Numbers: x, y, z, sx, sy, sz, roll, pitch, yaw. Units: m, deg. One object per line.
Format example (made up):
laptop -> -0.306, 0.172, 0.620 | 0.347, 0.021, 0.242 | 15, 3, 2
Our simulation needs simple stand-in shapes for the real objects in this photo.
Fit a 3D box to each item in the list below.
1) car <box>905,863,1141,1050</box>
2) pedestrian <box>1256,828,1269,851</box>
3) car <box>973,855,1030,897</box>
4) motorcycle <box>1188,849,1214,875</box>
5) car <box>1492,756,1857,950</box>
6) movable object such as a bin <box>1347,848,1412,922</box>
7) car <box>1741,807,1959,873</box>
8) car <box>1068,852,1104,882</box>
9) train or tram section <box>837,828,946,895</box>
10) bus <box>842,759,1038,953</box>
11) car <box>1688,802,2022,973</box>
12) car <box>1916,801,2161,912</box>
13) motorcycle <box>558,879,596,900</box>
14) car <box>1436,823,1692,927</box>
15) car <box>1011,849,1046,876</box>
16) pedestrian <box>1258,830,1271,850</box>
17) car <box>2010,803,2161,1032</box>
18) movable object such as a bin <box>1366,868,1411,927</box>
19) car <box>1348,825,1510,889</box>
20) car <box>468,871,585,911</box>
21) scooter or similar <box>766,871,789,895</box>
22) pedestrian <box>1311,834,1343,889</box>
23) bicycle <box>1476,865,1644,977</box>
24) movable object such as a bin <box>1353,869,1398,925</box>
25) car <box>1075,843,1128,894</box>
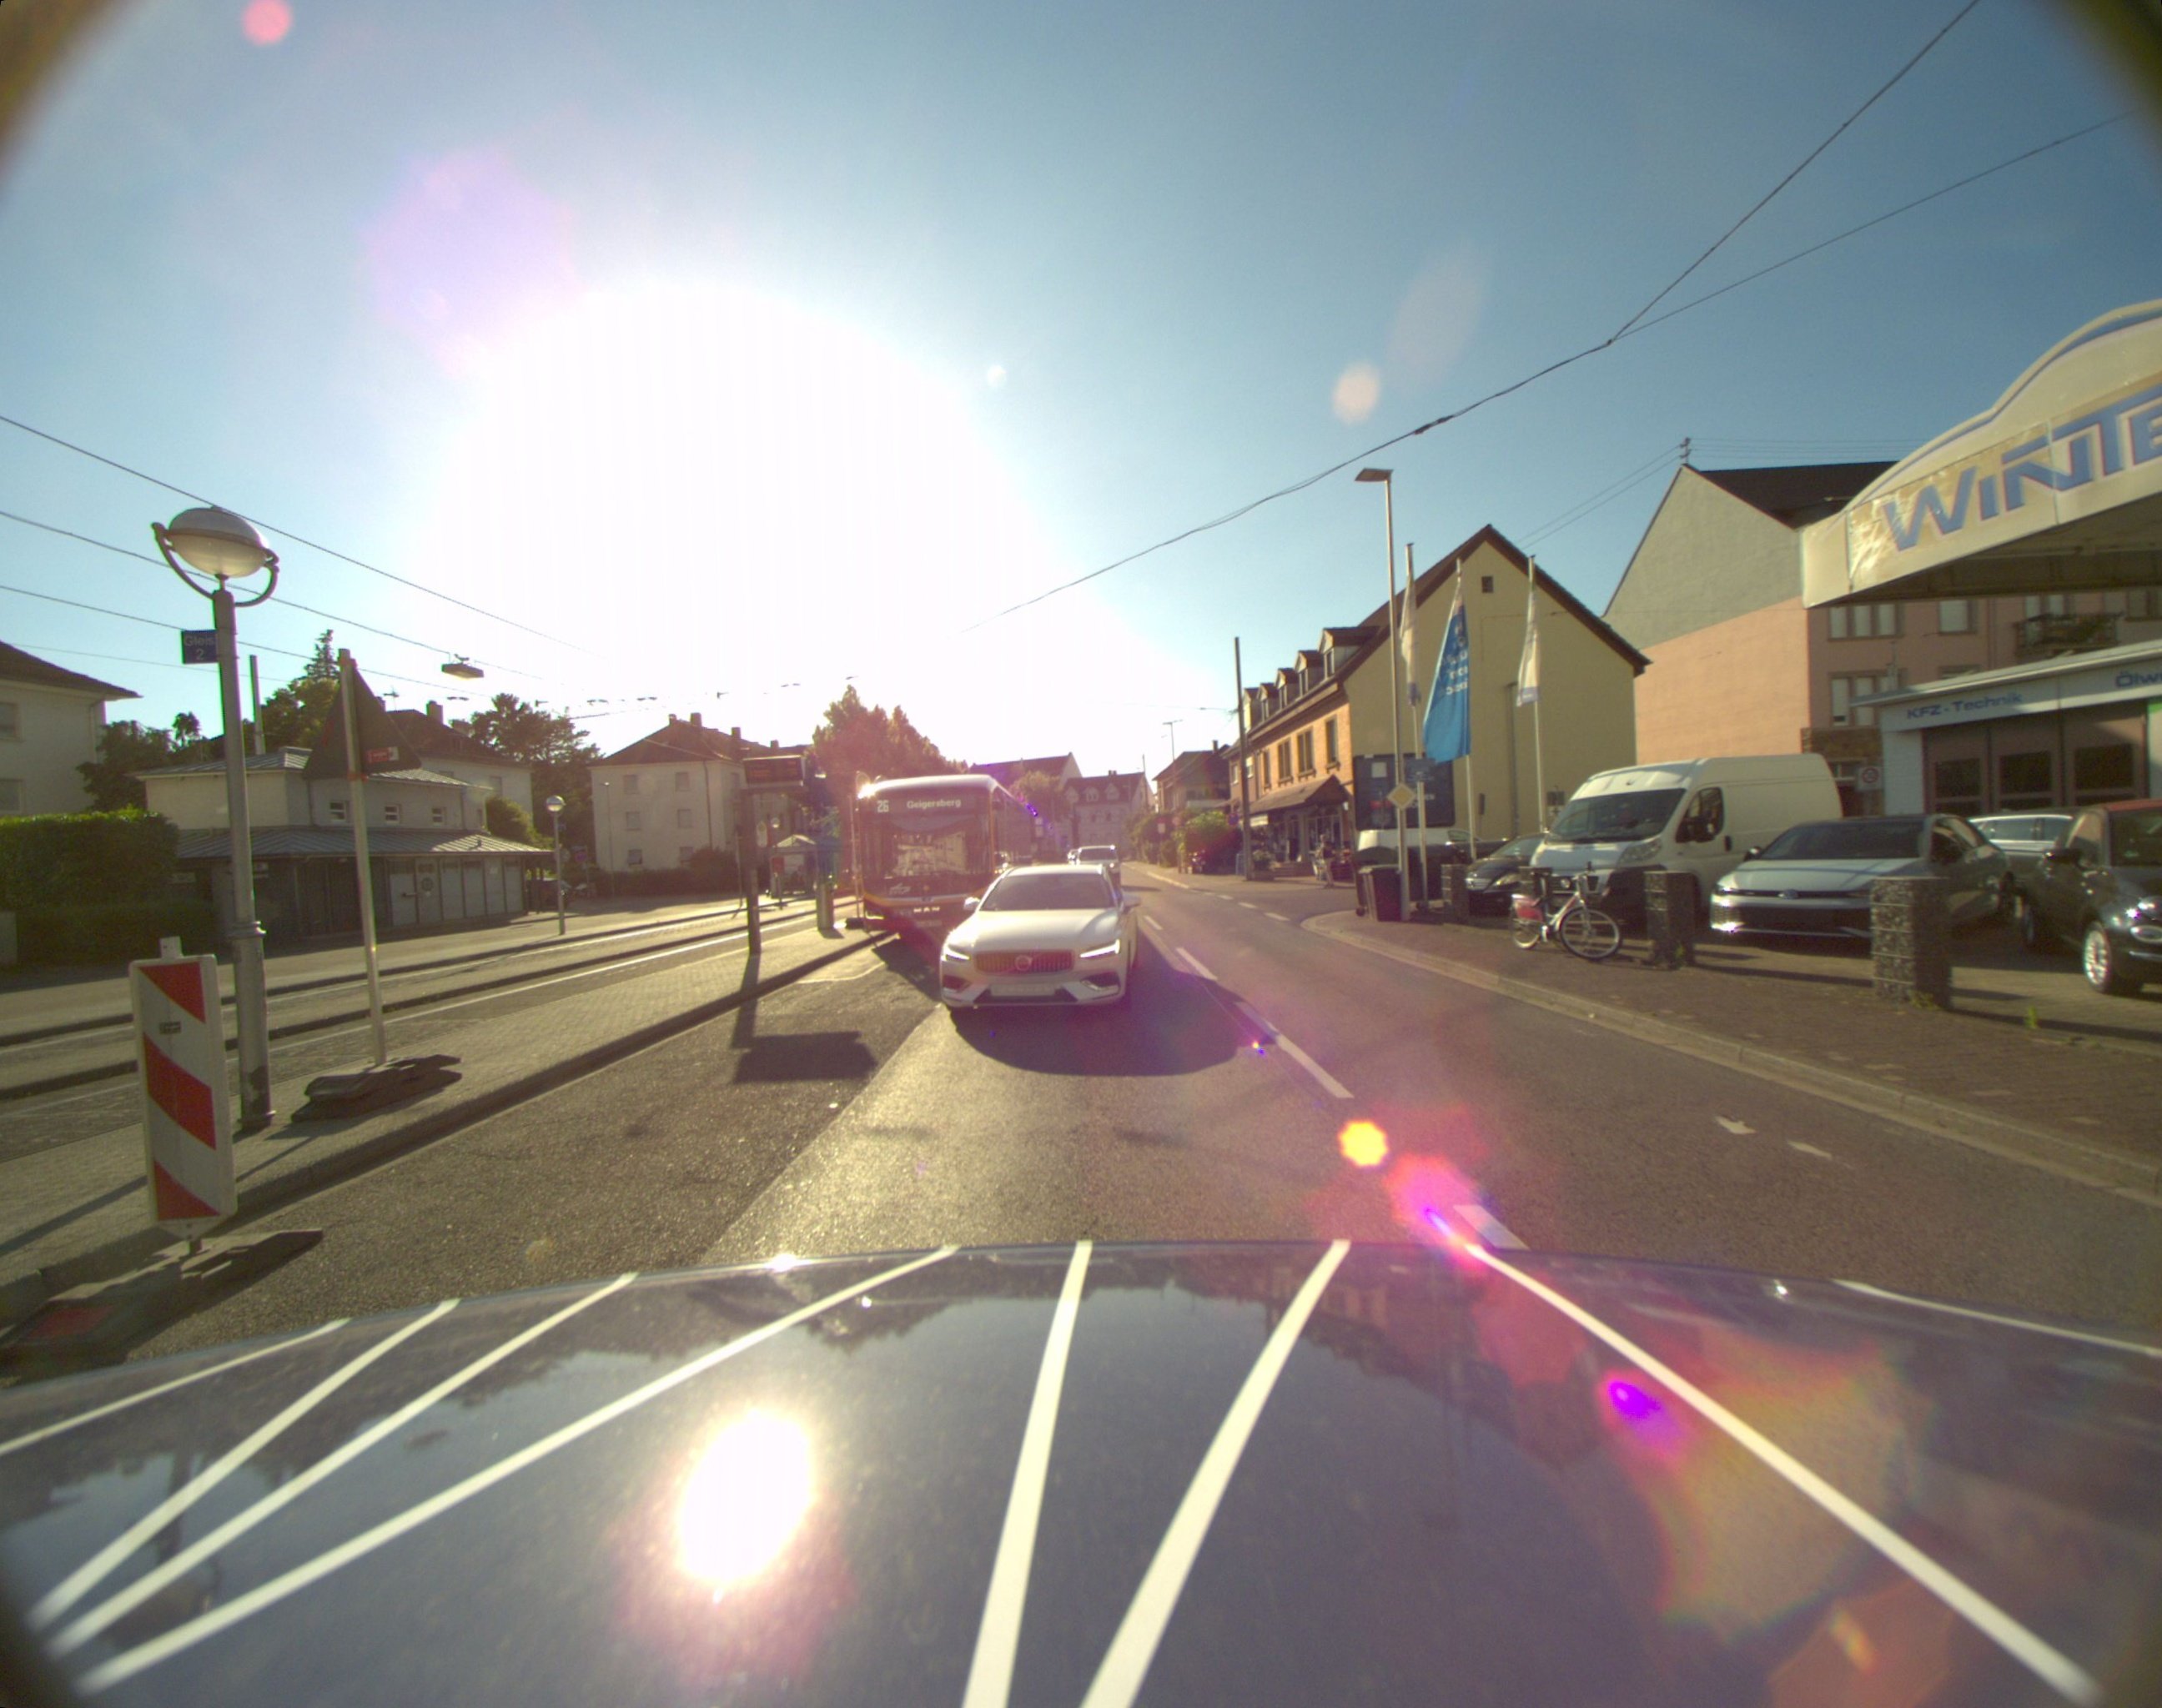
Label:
car -> -0.366, 0.926, 8.818 | 1.998, 1.454, 4.450 | -3, 0, 4
pedestrian -> 9.943, -0.801, 41.603 | 0.524, 1.251, 0.465 | -3, 1, 1
car -> -3.456, 0.918, 33.783 | 1.998, 1.664, 4.000 | -2, 0, 1
motorcycle -> 6.320, 0.382, 40.191 | 0.841, 1.275, 2.231 | -4, 1, -3
car -> 9.181, -0.115, 11.751 | 5.076, 2.455, 2.105 | -4, 1, -22
movable object such as a bin -> 6.358, 0.656, 16.154 | 1.055, 1.473, 1.315 | -4, -2, 28
car -> 21.319, -0.426, 21.217 | 3.997, 1.517, 1.998 | -3, 5, 0
car -> 0.317, 0.742, 45.183 | 1.998, 1.664, 4.000 | -2, 0, 1
train or tram section -> -11.664, 0.183, 49.072 | 2.965, 3.514, 15.964 | -2, 2, 0
bus -> -2.890, 0.004, 19.762 | 2.695, 3.396, 12.017 | -3, 0, 0
car -> 9.361, 0.286, 9.142 | 4.005, 1.559, 1.769 | -4, 0, -29
car -> 16.358, -0.007, 11.871 | 1.772, 1.559, 4.315 | -4, 0, -1
motorcycle -> -31.094, 2.173, 46.881 | 1.826, 1.155, 0.558 | -3, 1, -3
car -> 9.110, 0.351, 14.413 | 4.001, 1.559, 1.771 | -4, 0, -14
car -> -3.500, 0.534, 51.377 | 1.998, 1.664, 4.000 | -2, 0, 1
pedestrian -> 9.756, -0.759, 40.368 | 0.525, 1.041, 0.383 | -3, 1, -16
car -> 9.109, 0.369, 6.121 | 1.617, 1.559, 3.400 | -2, 1, 43
movable object such as a bin -> 5.867, 0.828, 14.532 | 0.641, 1.063, 0.581 | -3, -2, 12
car -> 11.875, 0.094, 26.116 | 4.627, 1.922, 1.999 | -3, 1, -2
car -> -27.826, 1.855, 38.242 | 4.448, 1.759, 2.000 | -2, 1, 4
scooter or similar -> -16.105, 1.520, 40.307 | 0.467, 1.201, 1.210 | -2, 1, 11
pedestrian -> 8.556, 0.264, 26.415 | 0.794, 1.857, 0.820 | -3, 1, 2
bicycle -> 5.821, 0.763, 9.372 | 0.725, 1.171, 1.779 | -3, 1, -9
movable object such as a bin -> 5.868, 0.850, 15.158 | 0.661, 1.056, 0.585 | -5, -1, 12
car -> 0.820, 0.584, 33.196 | 1.871, 1.922, 4.791 | -4, 0, -2
